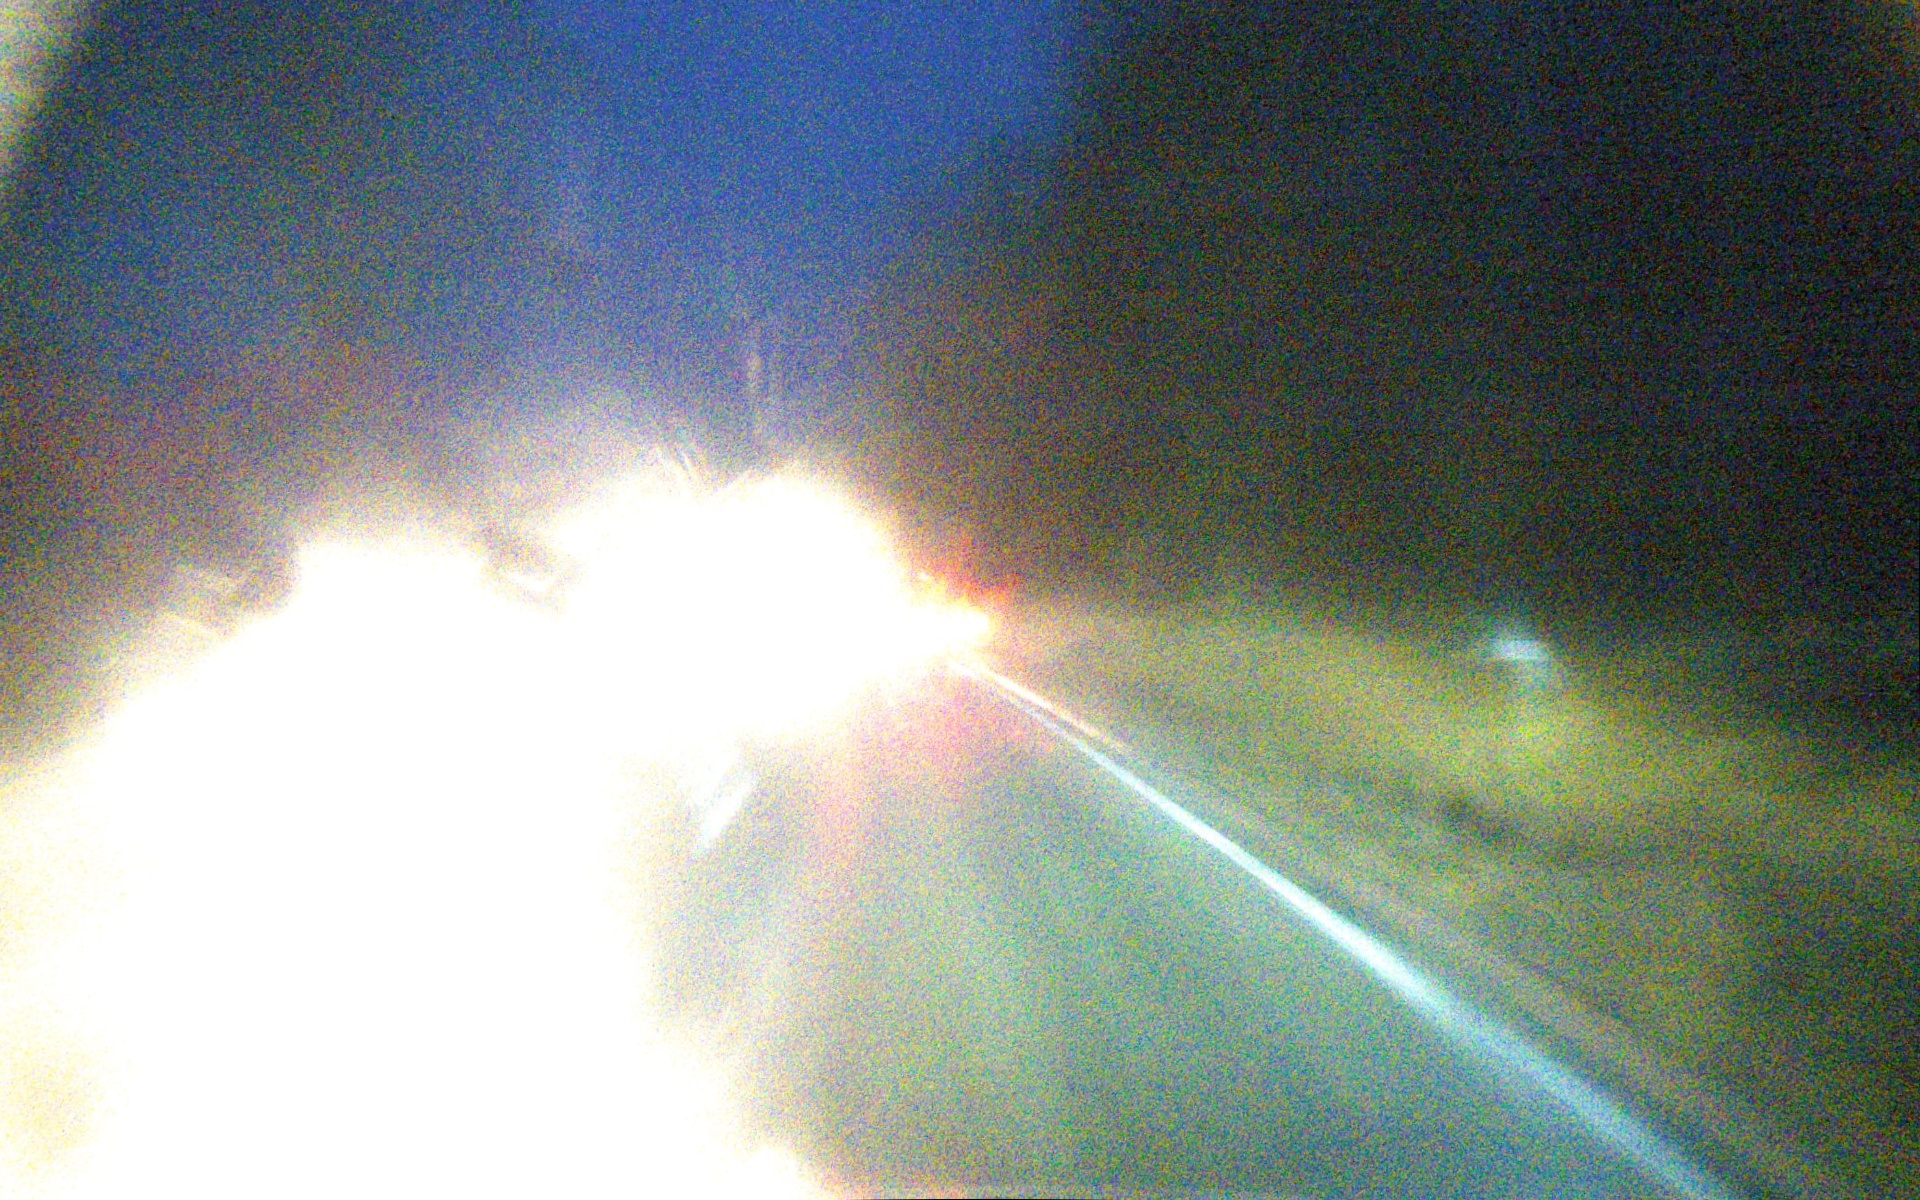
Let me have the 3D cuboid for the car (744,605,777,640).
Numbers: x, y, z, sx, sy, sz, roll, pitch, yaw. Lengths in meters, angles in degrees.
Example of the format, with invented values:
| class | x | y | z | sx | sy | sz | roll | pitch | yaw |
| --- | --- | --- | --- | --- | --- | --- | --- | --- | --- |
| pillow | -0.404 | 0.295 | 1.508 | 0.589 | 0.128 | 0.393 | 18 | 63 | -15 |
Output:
| class | x | y | z | sx | sy | sz | roll | pitch | yaw |
| --- | --- | --- | --- | --- | --- | --- | --- | --- | --- |
| car | -12.429 | 1.379 | 102.779 | 1.956 | 2.049 | 4.449 | -1 | 0 | -7 |

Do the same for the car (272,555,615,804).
| class | x | y | z | sx | sy | sz | roll | pitch | yaw |
| --- | --- | --- | --- | --- | --- | --- | --- | --- | --- |
| car | -3.729 | 0.490 | 12.529 | 1.532 | 1.551 | 3.485 | -3 | 1 | -2 |

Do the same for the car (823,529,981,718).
| class | x | y | z | sx | sy | sz | roll | pitch | yaw |
| --- | --- | --- | --- | --- | --- | --- | --- | --- | --- |
| car | -1.012 | 0.303 | 25.891 | 2.138 | 2.602 | 4.503 | 3 | 1 | -5 |
